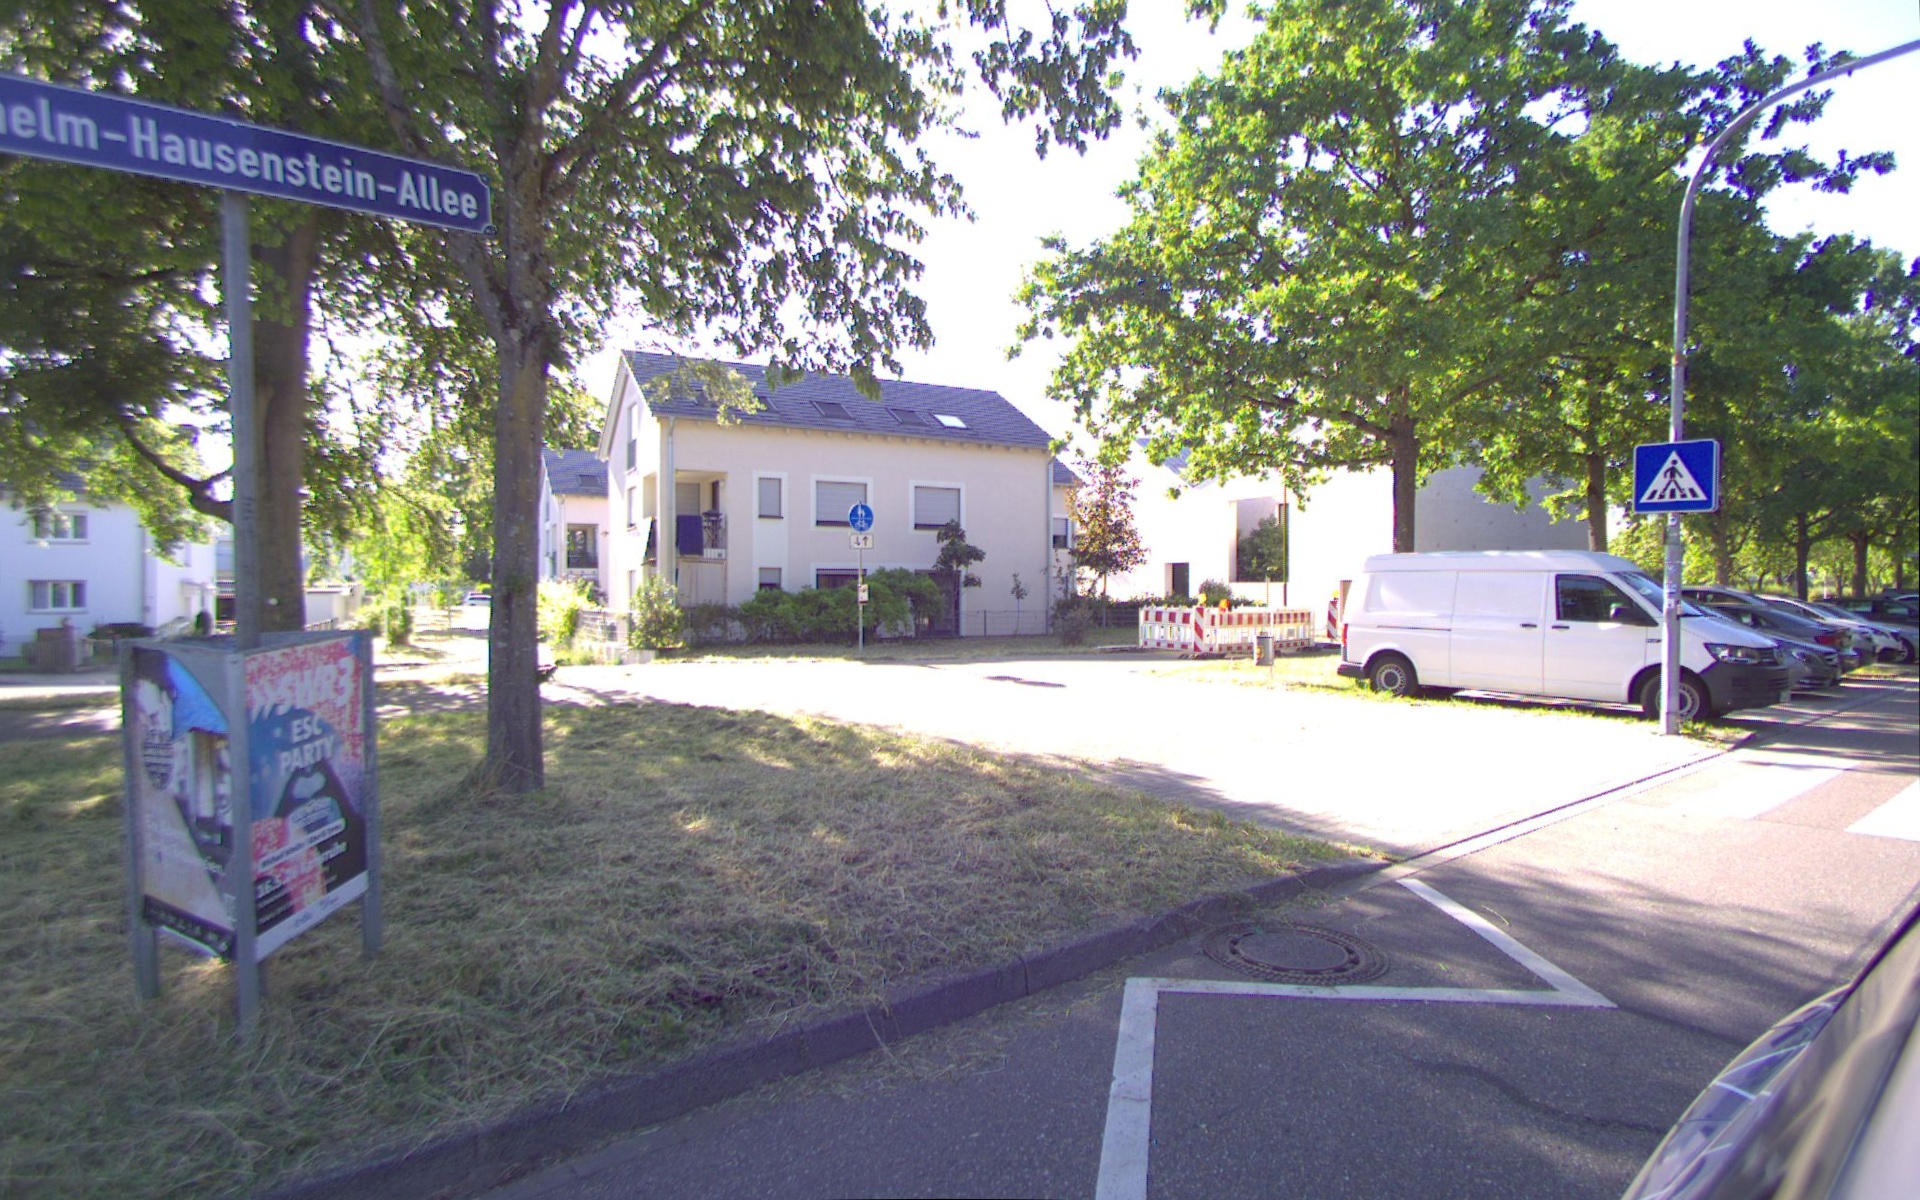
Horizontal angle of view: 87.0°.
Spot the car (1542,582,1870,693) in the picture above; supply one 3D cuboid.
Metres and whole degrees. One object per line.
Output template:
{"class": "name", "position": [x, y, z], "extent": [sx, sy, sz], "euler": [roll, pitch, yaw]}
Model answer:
{"class": "car", "position": [12.010, 0.543, 16.534], "extent": [1.725, 1.583, 3.997], "euler": [0, 0, -37]}

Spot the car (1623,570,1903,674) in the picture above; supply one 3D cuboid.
{"class": "car", "position": [15.648, 0.391, 19.907], "extent": [1.681, 1.816, 4.020], "euler": [0, 0, -37]}

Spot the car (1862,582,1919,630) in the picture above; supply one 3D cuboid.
{"class": "car", "position": [35.909, 0.213, 36.816], "extent": [1.504, 1.765, 4.396], "euler": [0, 0, -37]}

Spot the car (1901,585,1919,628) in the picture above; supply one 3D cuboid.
{"class": "car", "position": [41.400, 0.254, 41.164], "extent": [1.504, 1.765, 4.396], "euler": [0, 0, -37]}

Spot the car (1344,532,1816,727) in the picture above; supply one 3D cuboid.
{"class": "car", "position": [7.952, 0.274, 13.499], "extent": [1.857, 2.107, 5.045], "euler": [0, 1, -39]}

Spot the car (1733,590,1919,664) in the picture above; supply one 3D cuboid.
{"class": "car", "position": [21.466, 0.623, 24.563], "extent": [1.504, 1.681, 4.020], "euler": [0, 0, -37]}

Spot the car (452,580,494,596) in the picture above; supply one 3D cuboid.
{"class": "car", "position": [-62.546, -1.508, 130.016], "extent": [4.543, 2.039, 1.995], "euler": [0, 0, -43]}

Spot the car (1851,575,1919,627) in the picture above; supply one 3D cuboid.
{"class": "car", "position": [37.870, 0.051, 39.535], "extent": [1.504, 2.013, 4.396], "euler": [0, 0, -37]}

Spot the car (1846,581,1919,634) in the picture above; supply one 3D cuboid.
{"class": "car", "position": [32.902, 0.248, 34.074], "extent": [1.504, 1.765, 4.396], "euler": [0, 0, -37]}

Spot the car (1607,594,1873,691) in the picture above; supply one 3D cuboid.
{"class": "car", "position": [13.830, 0.692, 18.119], "extent": [1.421, 1.561, 3.517], "euler": [0, 0, -37]}

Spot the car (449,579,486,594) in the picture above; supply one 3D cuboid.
{"class": "car", "position": [-68.320, -1.920, 140.538], "extent": [4.524, 2.039, 2.003], "euler": [0, 0, -24]}

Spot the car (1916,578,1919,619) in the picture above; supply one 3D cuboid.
{"class": "car", "position": [43.105, -0.083, 42.309], "extent": [1.504, 1.765, 4.396], "euler": [0, 0, -37]}

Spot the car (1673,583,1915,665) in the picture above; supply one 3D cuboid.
{"class": "car", "position": [18.883, 0.503, 23.090], "extent": [1.504, 1.700, 4.020], "euler": [0, 0, -37]}

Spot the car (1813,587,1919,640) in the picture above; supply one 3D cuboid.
{"class": "car", "position": [30.380, 0.430, 32.462], "extent": [1.504, 1.662, 4.396], "euler": [0, 0, -37]}
